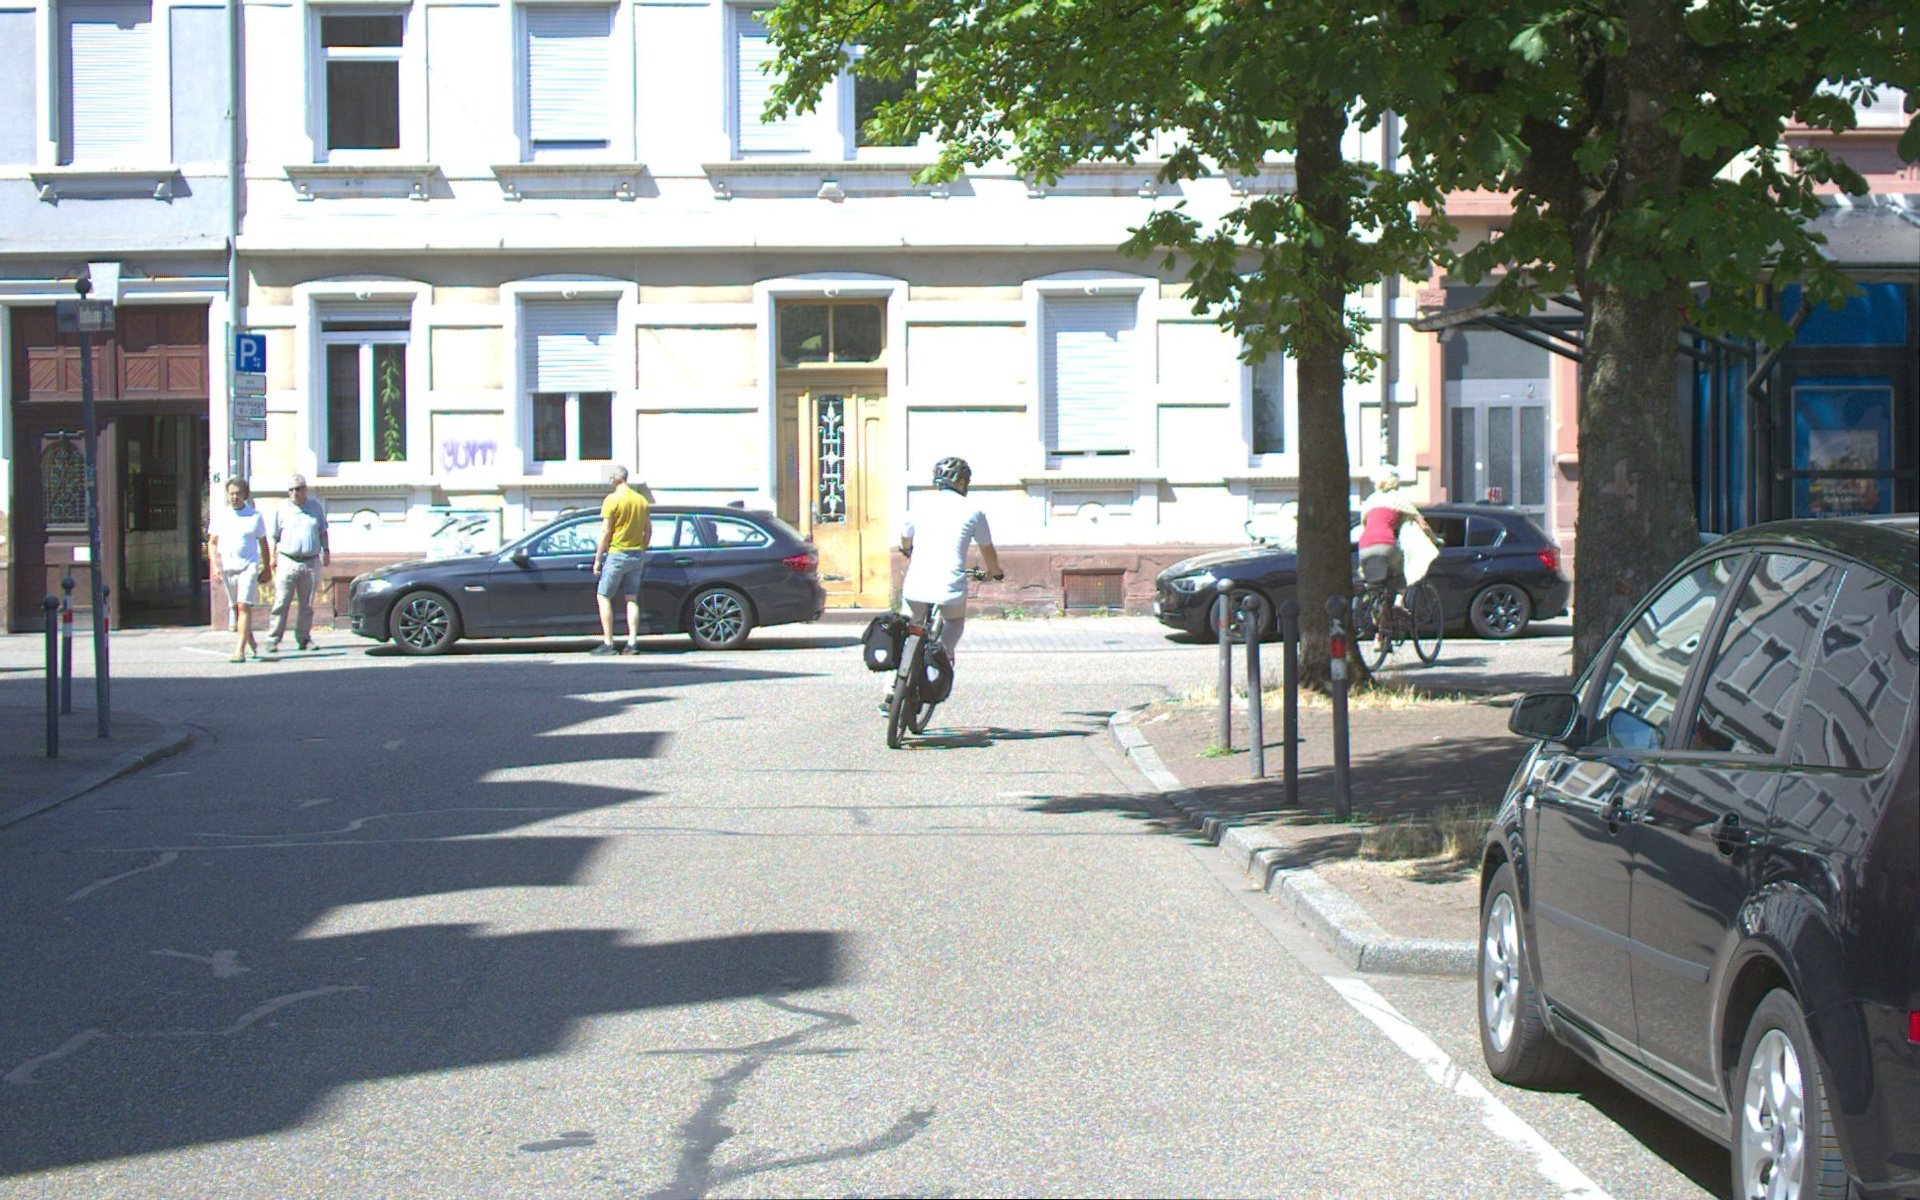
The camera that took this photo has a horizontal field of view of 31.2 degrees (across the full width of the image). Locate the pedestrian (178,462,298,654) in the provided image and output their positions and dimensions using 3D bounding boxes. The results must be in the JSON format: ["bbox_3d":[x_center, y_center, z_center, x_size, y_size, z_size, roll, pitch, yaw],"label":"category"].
[{"bbox_3d":[-7.220,-0.427,34.403,0.850,1.882,0.935,-1,1,9],"label":"pedestrian"}]

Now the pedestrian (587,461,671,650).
[{"bbox_3d":[-3.302,-0.444,34.236,0.724,1.847,0.685,-2,1,-11],"label":"pedestrian"}]

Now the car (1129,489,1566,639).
[{"bbox_3d":[3.999,-0.393,35.920,4.294,1.365,1.807,-1,4,-2],"label":"car"}]

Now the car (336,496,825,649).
[{"bbox_3d":[-3.844,-0.303,35.520,4.859,1.432,2.000,-1,2,-2],"label":"car"}]

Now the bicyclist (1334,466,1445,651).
[{"bbox_3d":[3.606,-0.352,28.882,0.672,1.527,0.608,0,2,44],"label":"bicyclist"}]

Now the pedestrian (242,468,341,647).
[{"bbox_3d":[-6.943,-0.449,35.746,0.901,1.807,0.960,-1,1,-7],"label":"pedestrian"}]

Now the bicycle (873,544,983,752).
[{"bbox_3d":[-0.226,0.273,22.099,0.652,1.224,2.442,1,2,-2],"label":"bicycle"}]

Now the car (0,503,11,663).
[{"bbox_3d":[-11.183,-0.099,31.949,4.223,1.514,1.807,-1,2,-2],"label":"car"}]

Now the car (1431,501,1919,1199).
[{"bbox_3d":[2.322,0.555,8.151,1.663,1.535,4.178,1,2,-2],"label":"car"}]

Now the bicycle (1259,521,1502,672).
[{"bbox_3d":[3.545,-0.047,28.798,0.653,1.205,2.435,2,2,44],"label":"bicycle"}]

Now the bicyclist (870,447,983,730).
[{"bbox_3d":[-0.216,-0.080,21.754,0.670,1.754,0.609,1,1,-1],"label":"bicyclist"}]
